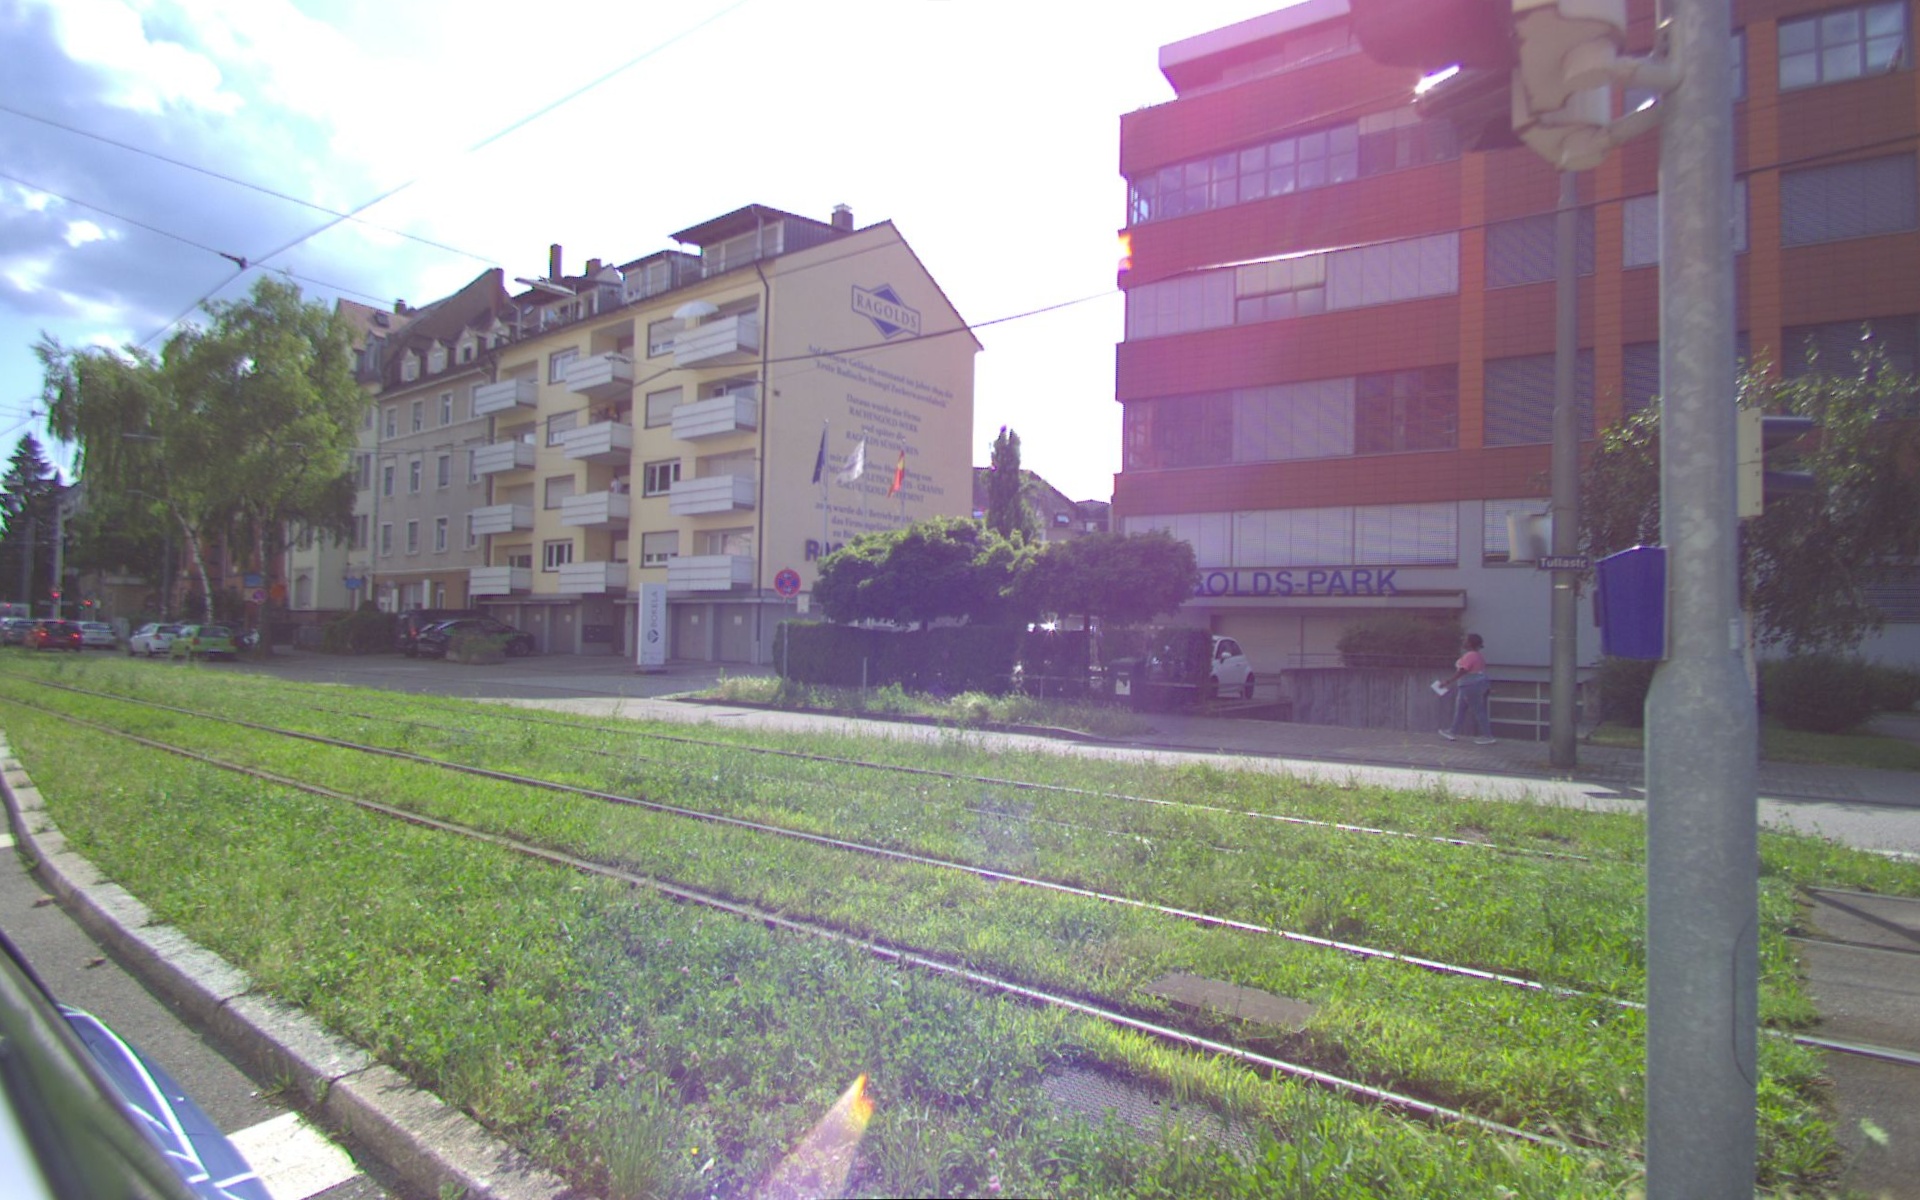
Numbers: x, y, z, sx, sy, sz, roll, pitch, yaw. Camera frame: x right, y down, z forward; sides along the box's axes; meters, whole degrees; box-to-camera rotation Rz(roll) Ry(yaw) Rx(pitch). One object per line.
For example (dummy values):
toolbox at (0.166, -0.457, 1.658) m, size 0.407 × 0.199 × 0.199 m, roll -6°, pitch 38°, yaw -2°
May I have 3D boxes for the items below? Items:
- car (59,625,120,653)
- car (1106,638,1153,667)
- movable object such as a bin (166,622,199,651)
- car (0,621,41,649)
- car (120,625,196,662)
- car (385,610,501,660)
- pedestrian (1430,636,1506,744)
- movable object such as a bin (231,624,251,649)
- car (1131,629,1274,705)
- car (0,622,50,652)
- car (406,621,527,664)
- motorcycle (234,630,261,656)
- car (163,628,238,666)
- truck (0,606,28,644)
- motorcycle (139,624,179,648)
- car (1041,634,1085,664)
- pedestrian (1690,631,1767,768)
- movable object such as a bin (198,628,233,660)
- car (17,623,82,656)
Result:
car at (-45.331, 2.041, 52.665) m, size 3.992 × 1.366 × 1.737 m, roll -1°, pitch -4°, yaw 40°
car at (10.616, 3.295, 63.574) m, size 1.743 × 1.708 × 4.007 m, roll 2°, pitch -3°, yaw -9°
movable object such as a bin at (-39.227, 1.832, 51.065) m, size 1.519 × 1.377 × 0.942 m, roll -1°, pitch 2°, yaw 38°
car at (-51.602, 1.877, 55.216) m, size 4.133 × 1.425 × 1.736 m, roll -1°, pitch -5°, yaw 43°
car at (-35.117, 1.874, 44.284) m, size 4.221 × 1.489 × 1.628 m, roll -1°, pitch -5°, yaw 39°
car at (-21.849, 1.444, 42.856) m, size 1.936 × 2.029 × 3.945 m, roll -1°, pitch -1°, yaw 42°
pedestrian at (7.791, 1.349, 15.522) m, size 0.889 × 1.586 × 0.737 m, roll -2°, pitch -4°, yaw 41°
movable object such as a bin at (-38.858, 1.968, 54.686) m, size 0.698 × 1.372 × 0.667 m, roll -1°, pitch -3°, yaw 35°
car at (5.820, 1.542, 23.962) m, size 1.996 × 1.608 × 3.952 m, roll -1°, pitch -3°, yaw 35°
car at (-47.102, 1.835, 50.571) m, size 4.509 × 1.366 × 1.737 m, roll 0°, pitch -5°, yaw 40°
car at (-19.897, 1.685, 40.928) m, size 1.970 × 1.614 × 3.948 m, roll -1°, pitch -1°, yaw 38°
motorcycle at (-30.979, 1.848, 44.010) m, size 1.630 × 1.050 × 0.494 m, roll 1°, pitch 1°, yaw 38°
car at (-30.888, 1.882, 41.116) m, size 3.611 × 1.443 × 1.578 m, roll -1°, pitch -4°, yaw 39°
truck at (-58.514, 1.513, 61.528) m, size 6.612 × 2.231 × 2.161 m, roll -1°, pitch -4°, yaw 43°
motorcycle at (-41.694, 1.867, 52.664) m, size 2.287 × 1.252 × 0.893 m, roll -1°, pitch -3°, yaw 33°
car at (6.445, 3.059, 63.494) m, size 1.743 × 1.827 × 4.007 m, roll 2°, pitch -3°, yaw -9°
pedestrian at (9.835, 1.246, 12.955) m, size 0.746 × 1.669 × 0.551 m, roll -1°, pitch -3°, yaw 41°
movable object such as a bin at (-34.454, 2.023, 46.808) m, size 1.519 × 1.441 × 0.942 m, roll -1°, pitch -1°, yaw 38°
car at (-41.375, 1.801, 45.967) m, size 3.689 × 1.397 × 1.563 m, roll -1°, pitch -4°, yaw 39°
